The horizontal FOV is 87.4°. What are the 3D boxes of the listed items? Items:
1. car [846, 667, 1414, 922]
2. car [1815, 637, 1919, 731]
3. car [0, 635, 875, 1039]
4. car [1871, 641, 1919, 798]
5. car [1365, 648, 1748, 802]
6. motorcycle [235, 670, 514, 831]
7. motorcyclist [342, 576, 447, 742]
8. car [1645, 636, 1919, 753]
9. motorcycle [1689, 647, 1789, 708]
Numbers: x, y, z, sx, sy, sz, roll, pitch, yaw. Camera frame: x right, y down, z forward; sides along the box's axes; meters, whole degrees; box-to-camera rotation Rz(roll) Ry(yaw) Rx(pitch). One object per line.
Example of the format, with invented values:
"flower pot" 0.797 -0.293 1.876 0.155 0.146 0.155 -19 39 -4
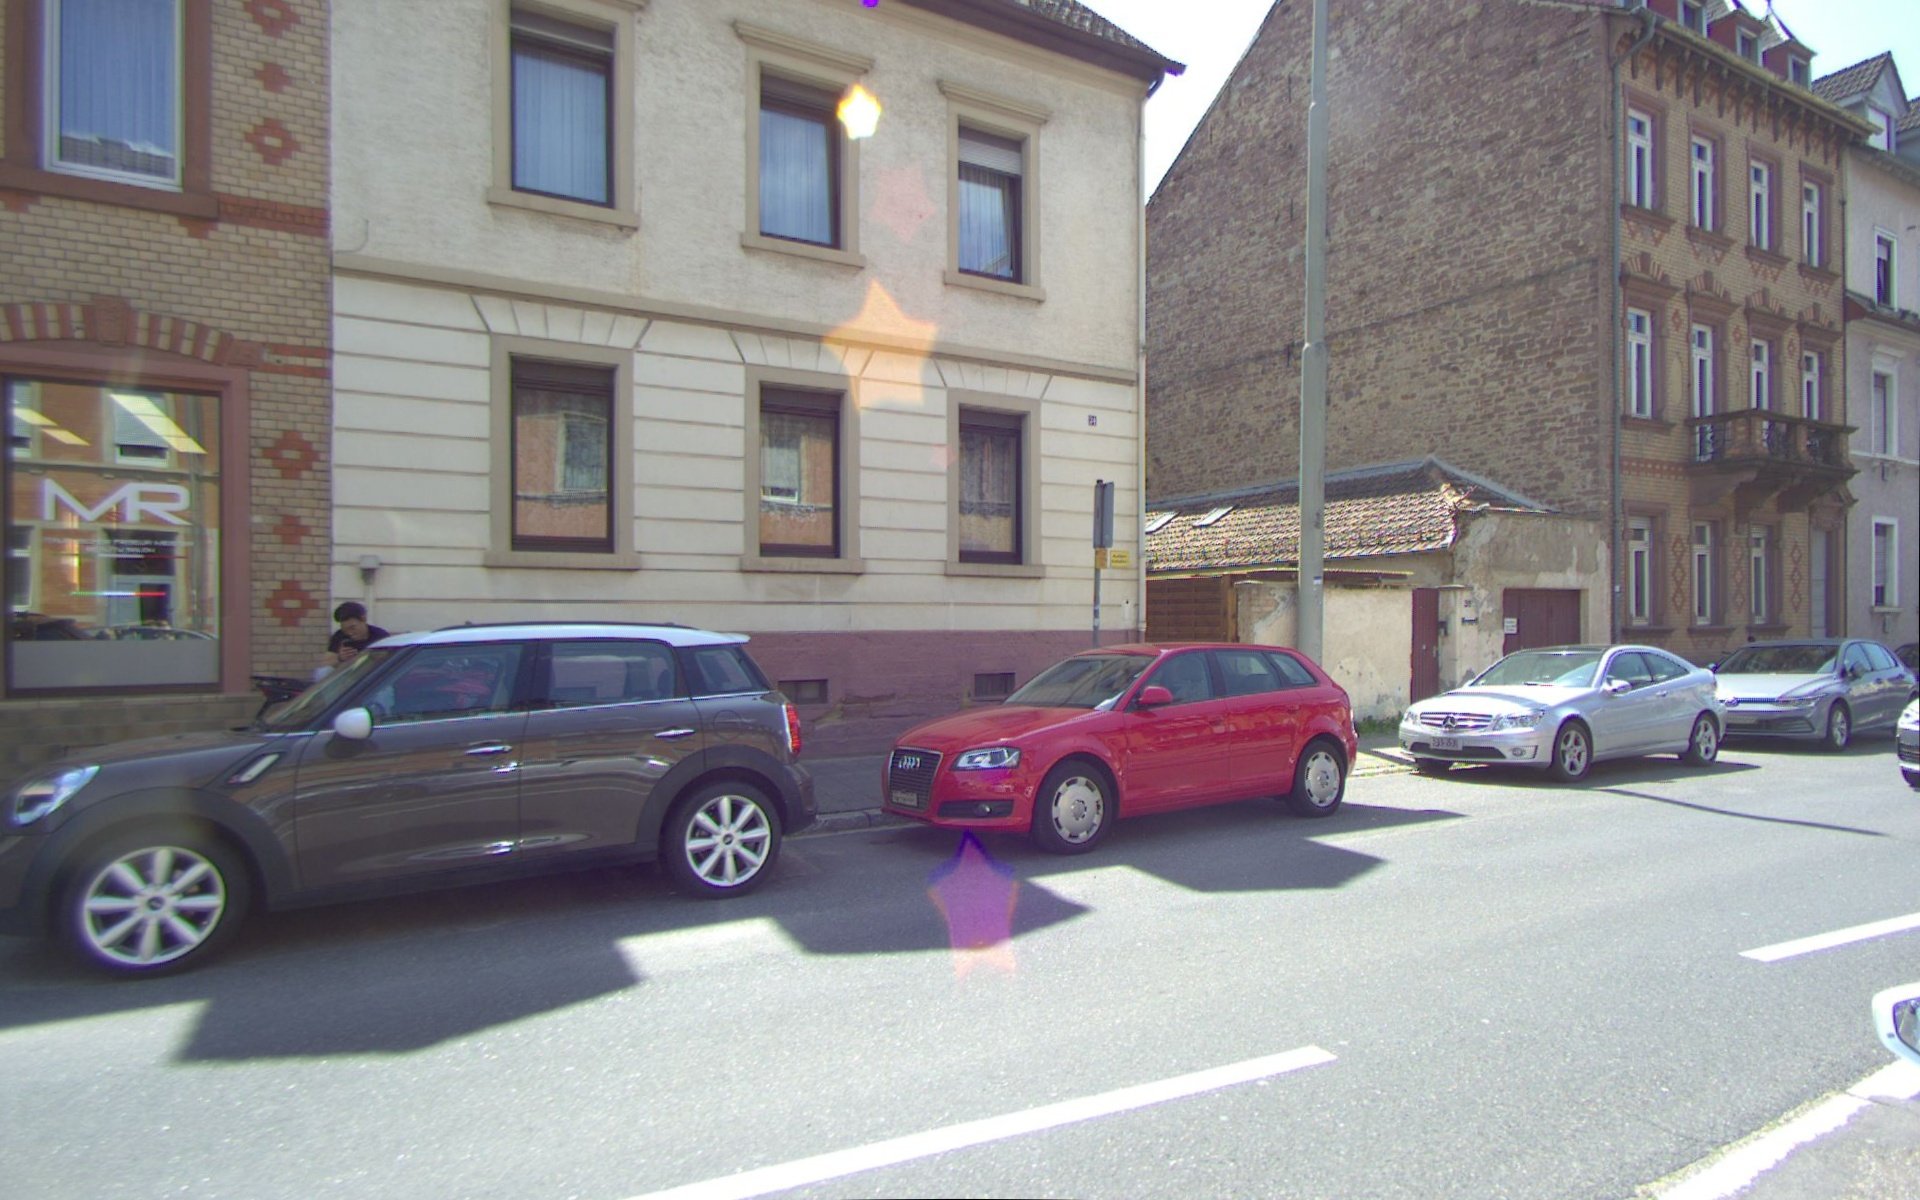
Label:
"car" 1.489 1.342 8.141 4.453 1.440 1.830 1 -5 -33
"car" 16.663 1.367 16.953 4.446 1.440 1.834 1 -6 -28
"car" -2.896 1.065 5.715 4.449 1.617 1.832 1 -5 -30
"car" 11.066 1.084 9.950 4.264 1.438 1.783 0 -3 -30
"car" 6.944 1.316 11.610 4.449 1.441 1.832 1 -4 -30
"motorcycle" -4.641 1.148 8.103 1.849 1.092 0.841 1 -2 -30
"motorcyclist" -4.574 0.463 8.144 0.703 1.264 0.715 1 -2 -30
"car" 11.991 1.309 14.379 4.450 1.440 1.832 1 -7 -31
"motorcycle" 14.634 1.437 18.859 1.910 1.067 0.711 1 -1 -26
